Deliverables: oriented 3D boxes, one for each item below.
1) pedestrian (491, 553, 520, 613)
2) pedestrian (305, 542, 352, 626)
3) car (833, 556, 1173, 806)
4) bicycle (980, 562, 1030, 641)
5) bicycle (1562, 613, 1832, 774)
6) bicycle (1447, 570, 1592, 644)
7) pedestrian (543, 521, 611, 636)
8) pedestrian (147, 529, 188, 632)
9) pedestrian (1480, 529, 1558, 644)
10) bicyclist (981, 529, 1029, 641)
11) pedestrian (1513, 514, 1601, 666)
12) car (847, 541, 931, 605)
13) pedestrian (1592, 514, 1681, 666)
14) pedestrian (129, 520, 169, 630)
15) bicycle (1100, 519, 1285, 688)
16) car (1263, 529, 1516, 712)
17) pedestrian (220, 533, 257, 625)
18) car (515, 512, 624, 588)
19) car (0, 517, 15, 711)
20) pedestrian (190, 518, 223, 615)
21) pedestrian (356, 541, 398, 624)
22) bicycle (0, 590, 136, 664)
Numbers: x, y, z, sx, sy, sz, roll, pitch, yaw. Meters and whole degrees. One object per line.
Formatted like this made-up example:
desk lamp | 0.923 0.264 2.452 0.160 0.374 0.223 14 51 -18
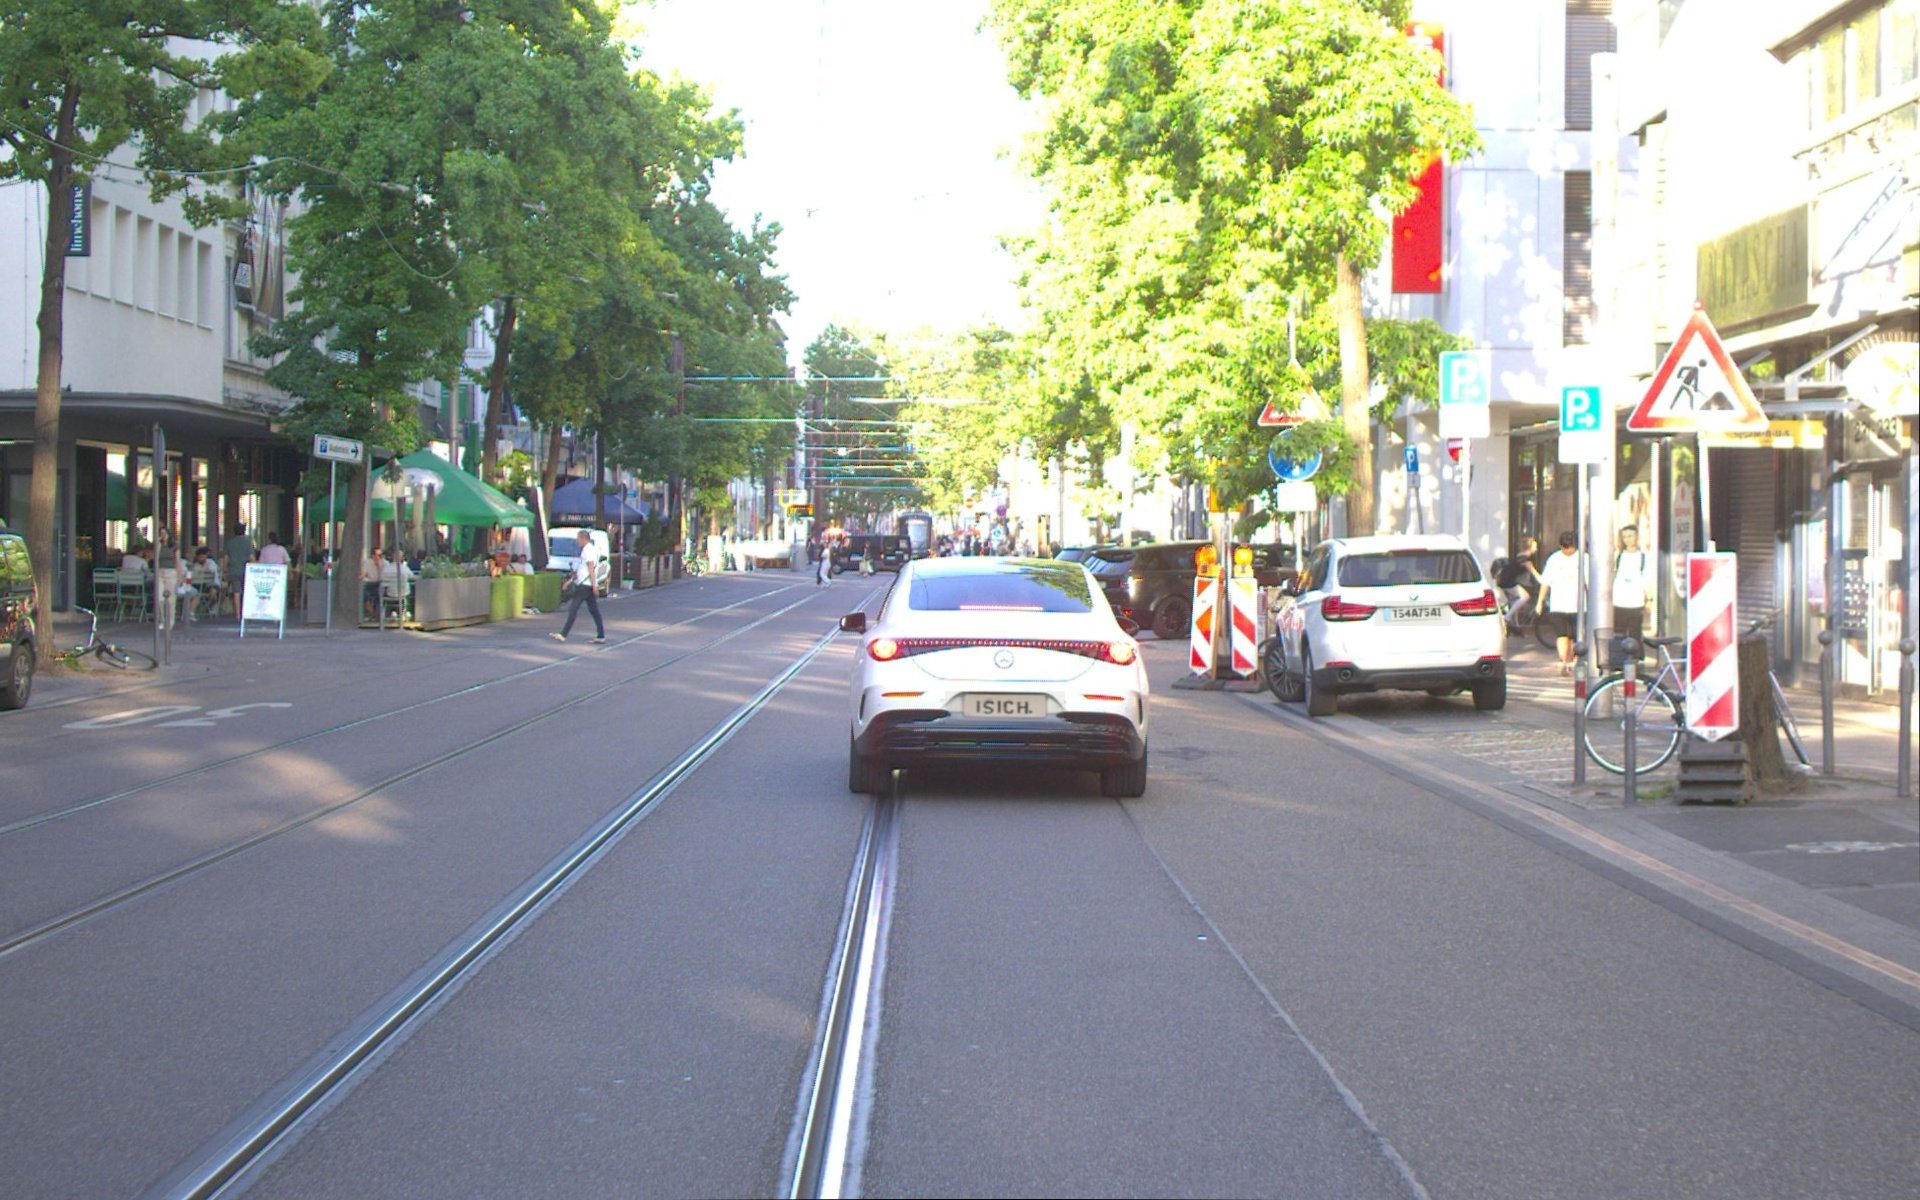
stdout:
pedestrian | -9.474 -0.362 71.678 0.517 1.229 0.650 0 1 1
pedestrian | -11.067 -0.281 60.244 0.569 1.459 0.649 1 1 19
car | 0.180 0.451 22.160 1.868 1.464 4.043 0 1 -4
bicycle | 0.684 0.009 52.791 0.740 1.184 2.160 0 1 0
bicycle | 5.012 0.631 23.431 1.723 1.058 0.581 0 1 3
bicycle | 8.747 0.112 53.795 2.047 1.132 0.874 0 1 -15
pedestrian | -5.959 -0.342 53.448 0.919 1.768 0.874 0 1 -15
pedestrian | -12.813 -0.320 55.609 0.517 1.647 0.650 0 1 -1
pedestrian | 8.749 -0.216 53.805 0.919 1.768 0.874 0 1 -15
bicyclist | 0.688 -0.239 52.702 0.724 1.697 0.811 0 1 0
pedestrian | 7.026 -0.126 40.469 0.799 1.768 0.683 0 1 -12
car | -3.496 -1.339 171.340 4.038 3.103 8.431 0 1 -1
pedestrian | 7.947 -0.124 40.402 0.799 1.768 0.683 0 1 -12
pedestrian | -13.725 -0.429 58.176 0.517 1.849 0.650 0 1 -1
bicycle | 2.856 0.017 42.959 1.993 2.007 4.000 0 1 -1
car | 4.238 0.149 34.537 1.993 1.722 4.241 0 1 0
pedestrian | -12.705 -0.377 60.531 0.517 1.610 0.650 0 1 -1
car | -10.526 -1.354 93.011 1.994 2.007 3.999 0 1 8
car | -9.798 0.150 30.578 1.553 1.789 3.166 0 1 8
pedestrian | -13.801 -0.620 62.973 0.517 1.775 0.609 0 1 -7
pedestrian | -10.474 -0.311 61.729 0.517 1.473 0.650 -2 0 -28
bicycle | -10.937 0.313 40.822 2.255 0.827 0.716 1 1 22
